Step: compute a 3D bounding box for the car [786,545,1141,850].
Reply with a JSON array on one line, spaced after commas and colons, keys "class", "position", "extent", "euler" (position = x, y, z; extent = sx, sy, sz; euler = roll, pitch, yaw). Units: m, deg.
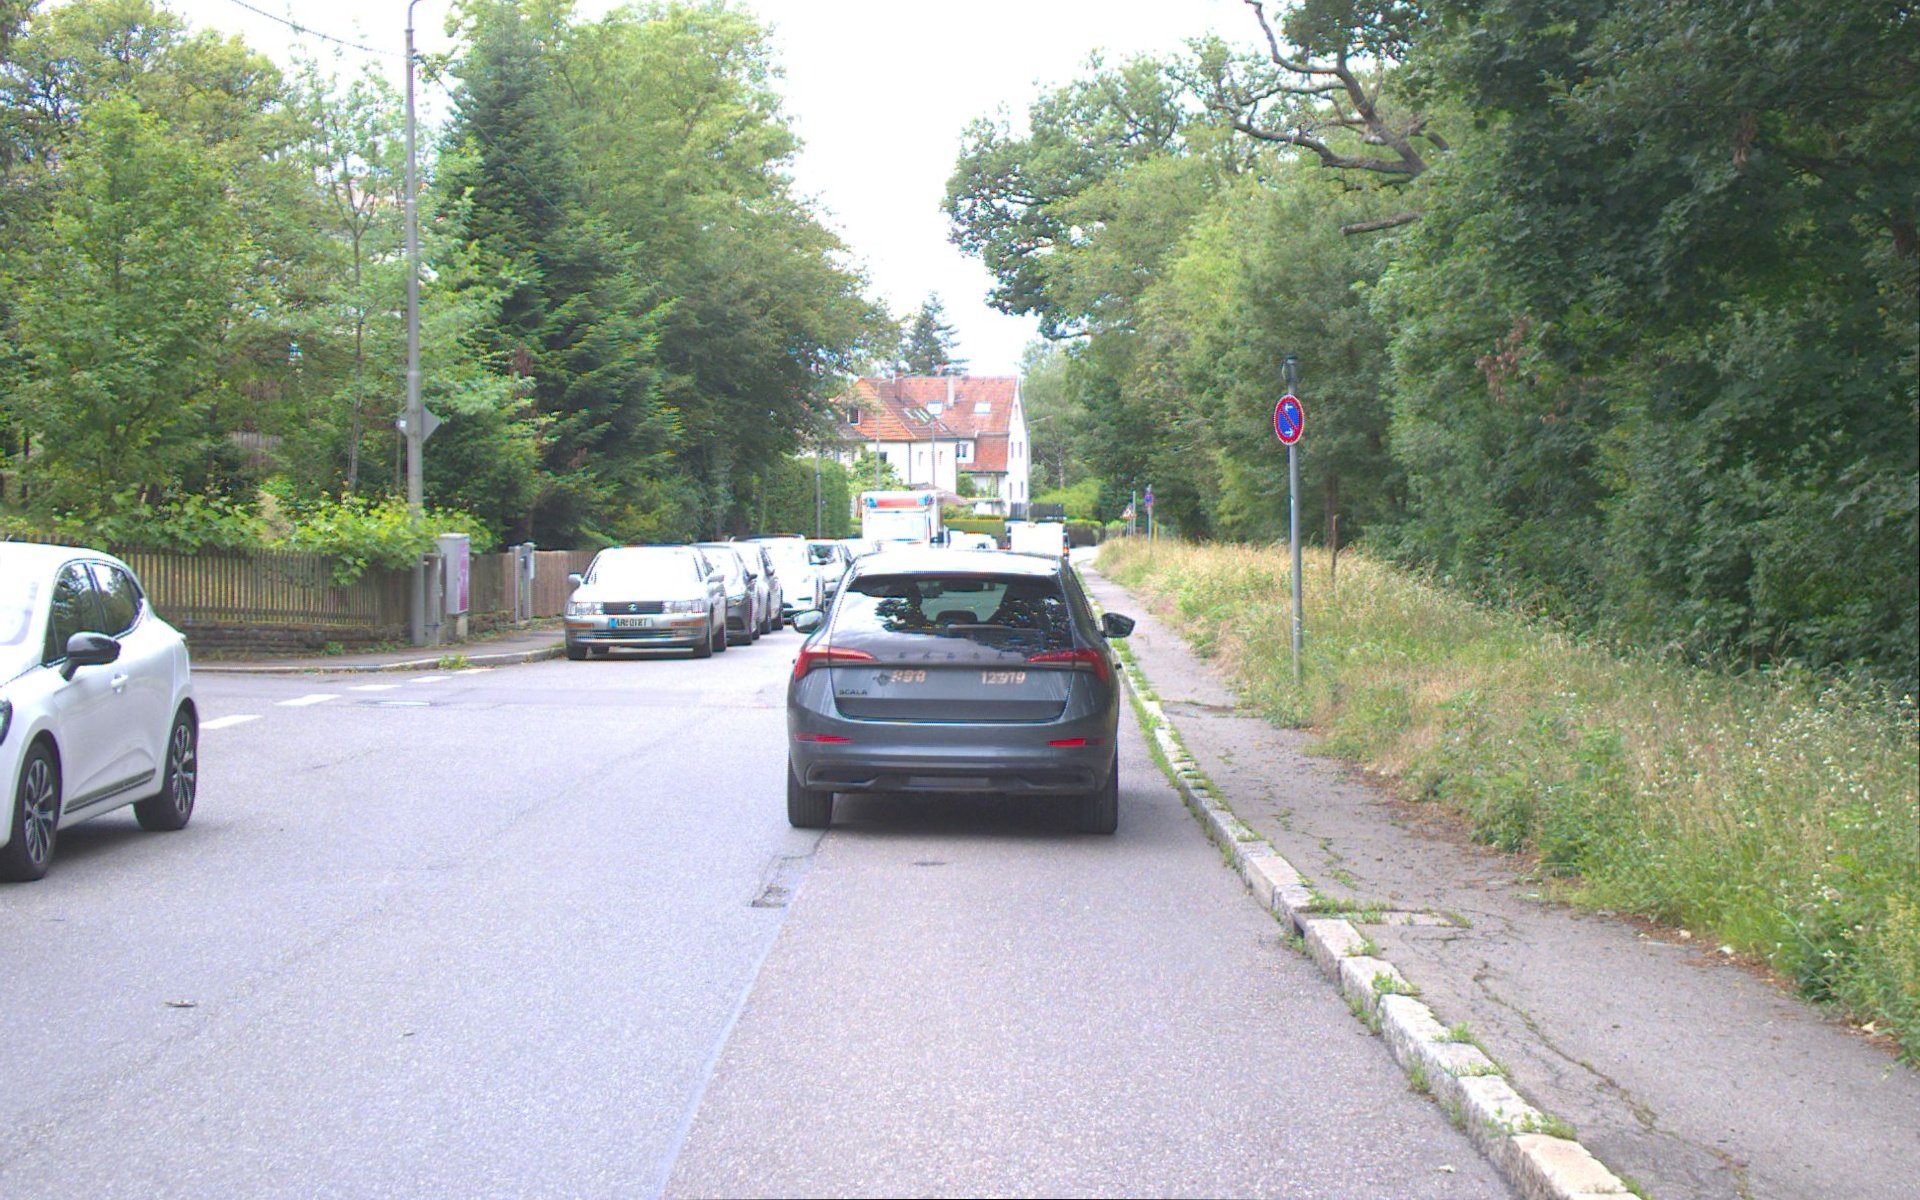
[{"class": "car", "position": [-0.030, 0.449, 19.137], "extent": [1.728, 1.434, 4.324], "euler": [1, 1, -1]}]

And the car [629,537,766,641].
[{"class": "car", "position": [-3.781, -0.190, 50.062], "extent": [1.734, 1.434, 4.263], "euler": [-1, 1, -1]}]

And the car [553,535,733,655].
[{"class": "car", "position": [-3.998, -0.107, 44.088], "extent": [1.848, 1.434, 4.910], "euler": [-1, 1, 0]}]

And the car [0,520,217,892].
[{"class": "car", "position": [-4.765, 0.378, 15.851], "extent": [1.783, 1.495, 4.015], "euler": [1, 1, 0]}]

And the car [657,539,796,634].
[{"class": "car", "position": [-3.744, -0.247, 55.664], "extent": [1.834, 1.434, 4.117], "euler": [-1, 1, 1]}]

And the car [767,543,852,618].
[{"class": "car", "position": [-3.208, -0.436, 73.679], "extent": [1.720, 1.499, 4.008], "euler": [-2, 1, -2]}]

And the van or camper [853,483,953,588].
[{"class": "van or camper", "position": [-1.689, -1.852, 98.880], "extent": [2.456, 2.885, 7.169], "euler": [-1, 1, -4]}]

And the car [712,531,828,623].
[{"class": "car", "position": [-3.447, -0.452, 63.094], "extent": [1.916, 1.556, 4.604], "euler": [-2, 1, -1]}]

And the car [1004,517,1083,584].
[{"class": "car", "position": [2.464, -1.501, 102.893], "extent": [2.071, 1.915, 4.923], "euler": [1, 1, -2]}]

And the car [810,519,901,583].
[{"class": "car", "position": [-2.584, -1.245, 86.047], "extent": [1.798, 1.499, 4.863], "euler": [-2, 1, 3]}]
